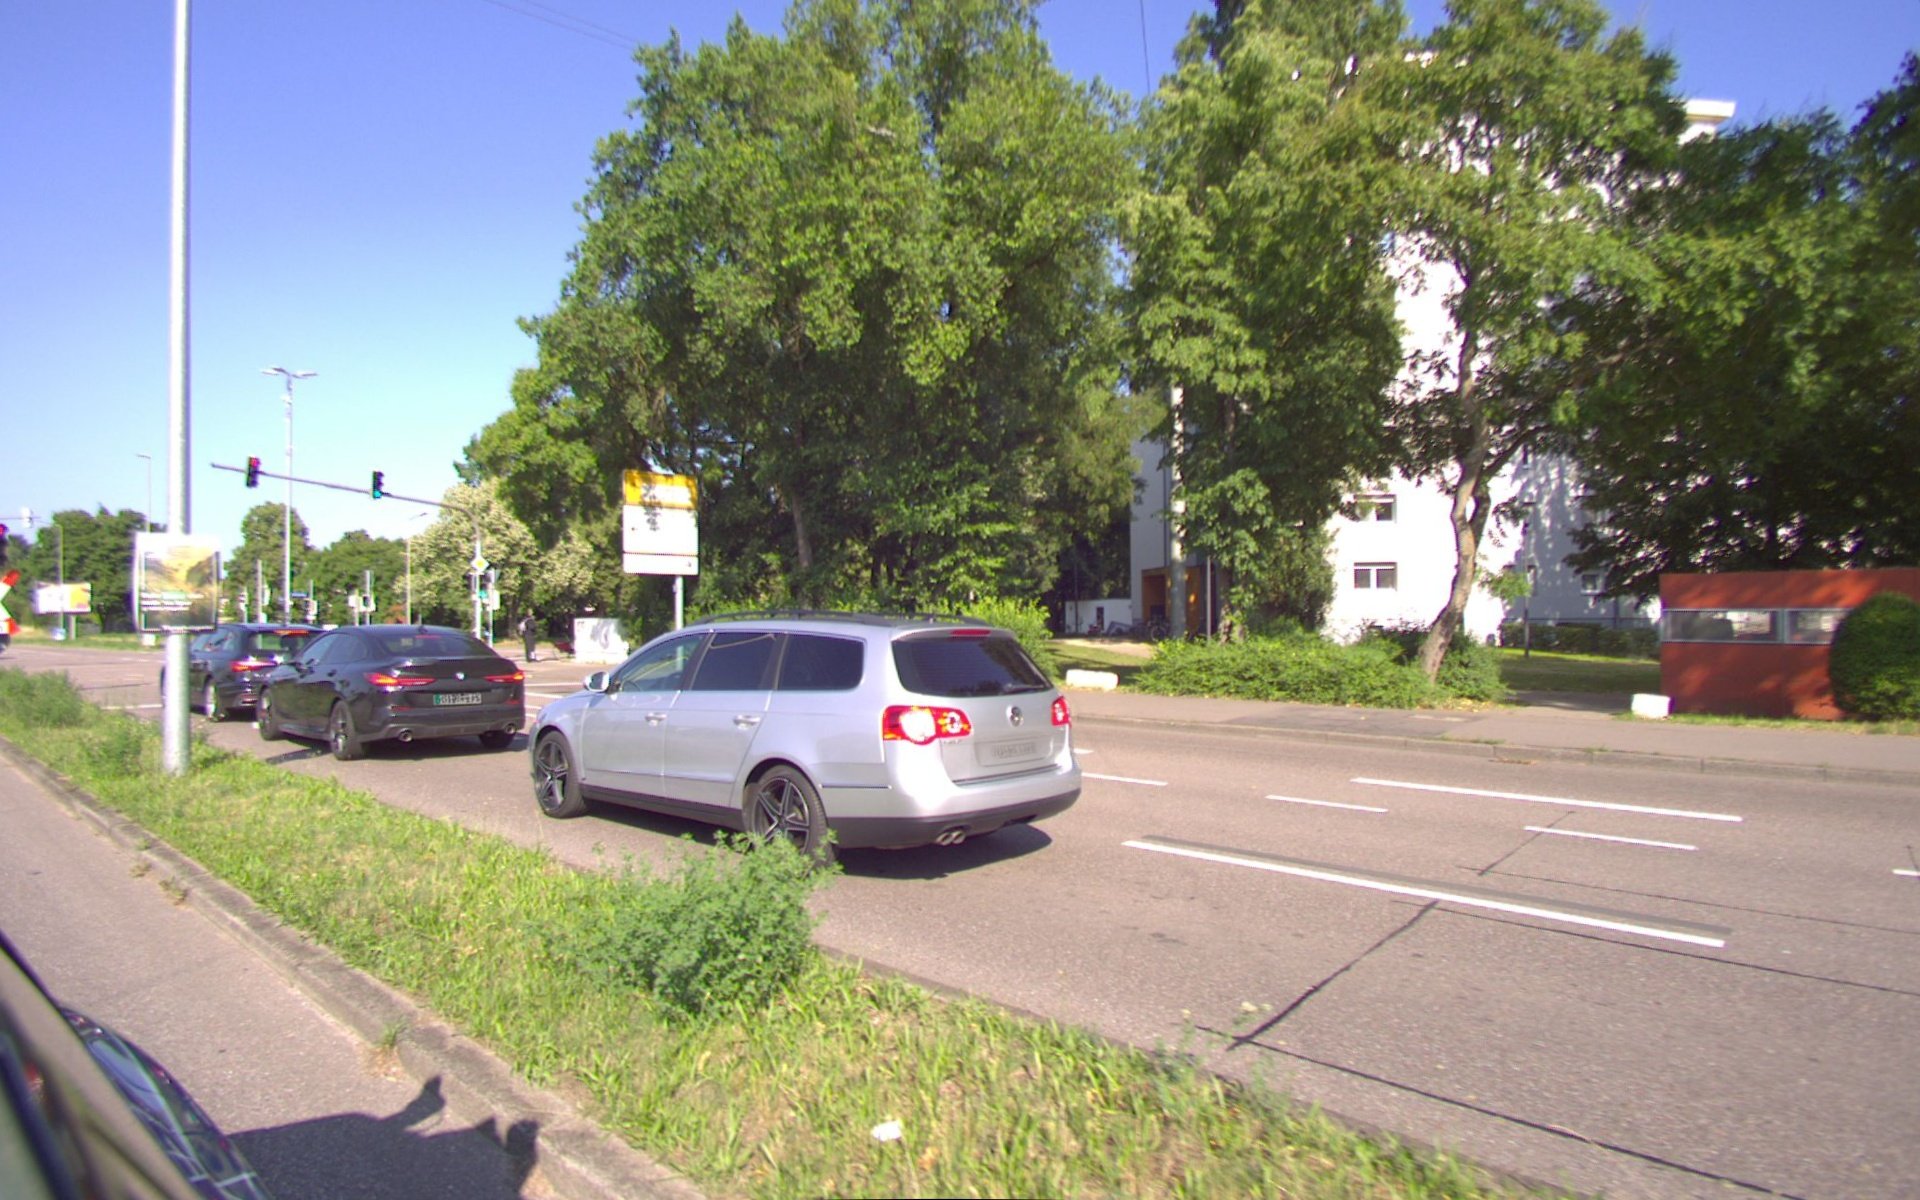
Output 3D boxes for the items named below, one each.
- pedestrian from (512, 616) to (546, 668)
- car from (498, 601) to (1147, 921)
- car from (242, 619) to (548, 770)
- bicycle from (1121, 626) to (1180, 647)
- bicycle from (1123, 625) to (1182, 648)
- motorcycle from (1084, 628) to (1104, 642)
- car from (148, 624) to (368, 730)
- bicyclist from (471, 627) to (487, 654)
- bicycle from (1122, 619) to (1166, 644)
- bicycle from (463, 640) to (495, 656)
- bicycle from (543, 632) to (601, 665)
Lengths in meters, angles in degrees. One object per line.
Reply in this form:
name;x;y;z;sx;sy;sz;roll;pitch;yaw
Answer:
pedestrian;-14.950;1.444;35.135;0.806;1.765;0.932;0;-2;-44
car;-1.208;0.829;6.959;4.643;1.489;1.829;-2;-3;41
car;-6.739;0.983;11.865;4.379;1.446;1.809;-2;-3;42
bicycle;8.336;1.586;44.383;2.454;0.882;0.674;-1;-1;6
bicycle;8.230;1.563;43.309;2.377;0.926;0.669;-1;-1;6
motorcycle;9.199;2.384;69.532;0.518;0.972;2.050;0;-2;-16
car;-11.180;1.125;15.978;4.730;1.442;1.809;-2;-3;42
bicyclist;-28.818;2.427;60.670;0.614;1.535;0.623;-2;-2;20
bicycle;8.240;1.415;45.406;1.892;1.074;0.612;1;-1;4
bicycle;-28.801;2.884;60.675;0.649;0.910;1.797;-1;-1;20
bicycle;-13.884;1.709;36.282;0.632;1.127;1.889;-2;-2;40
